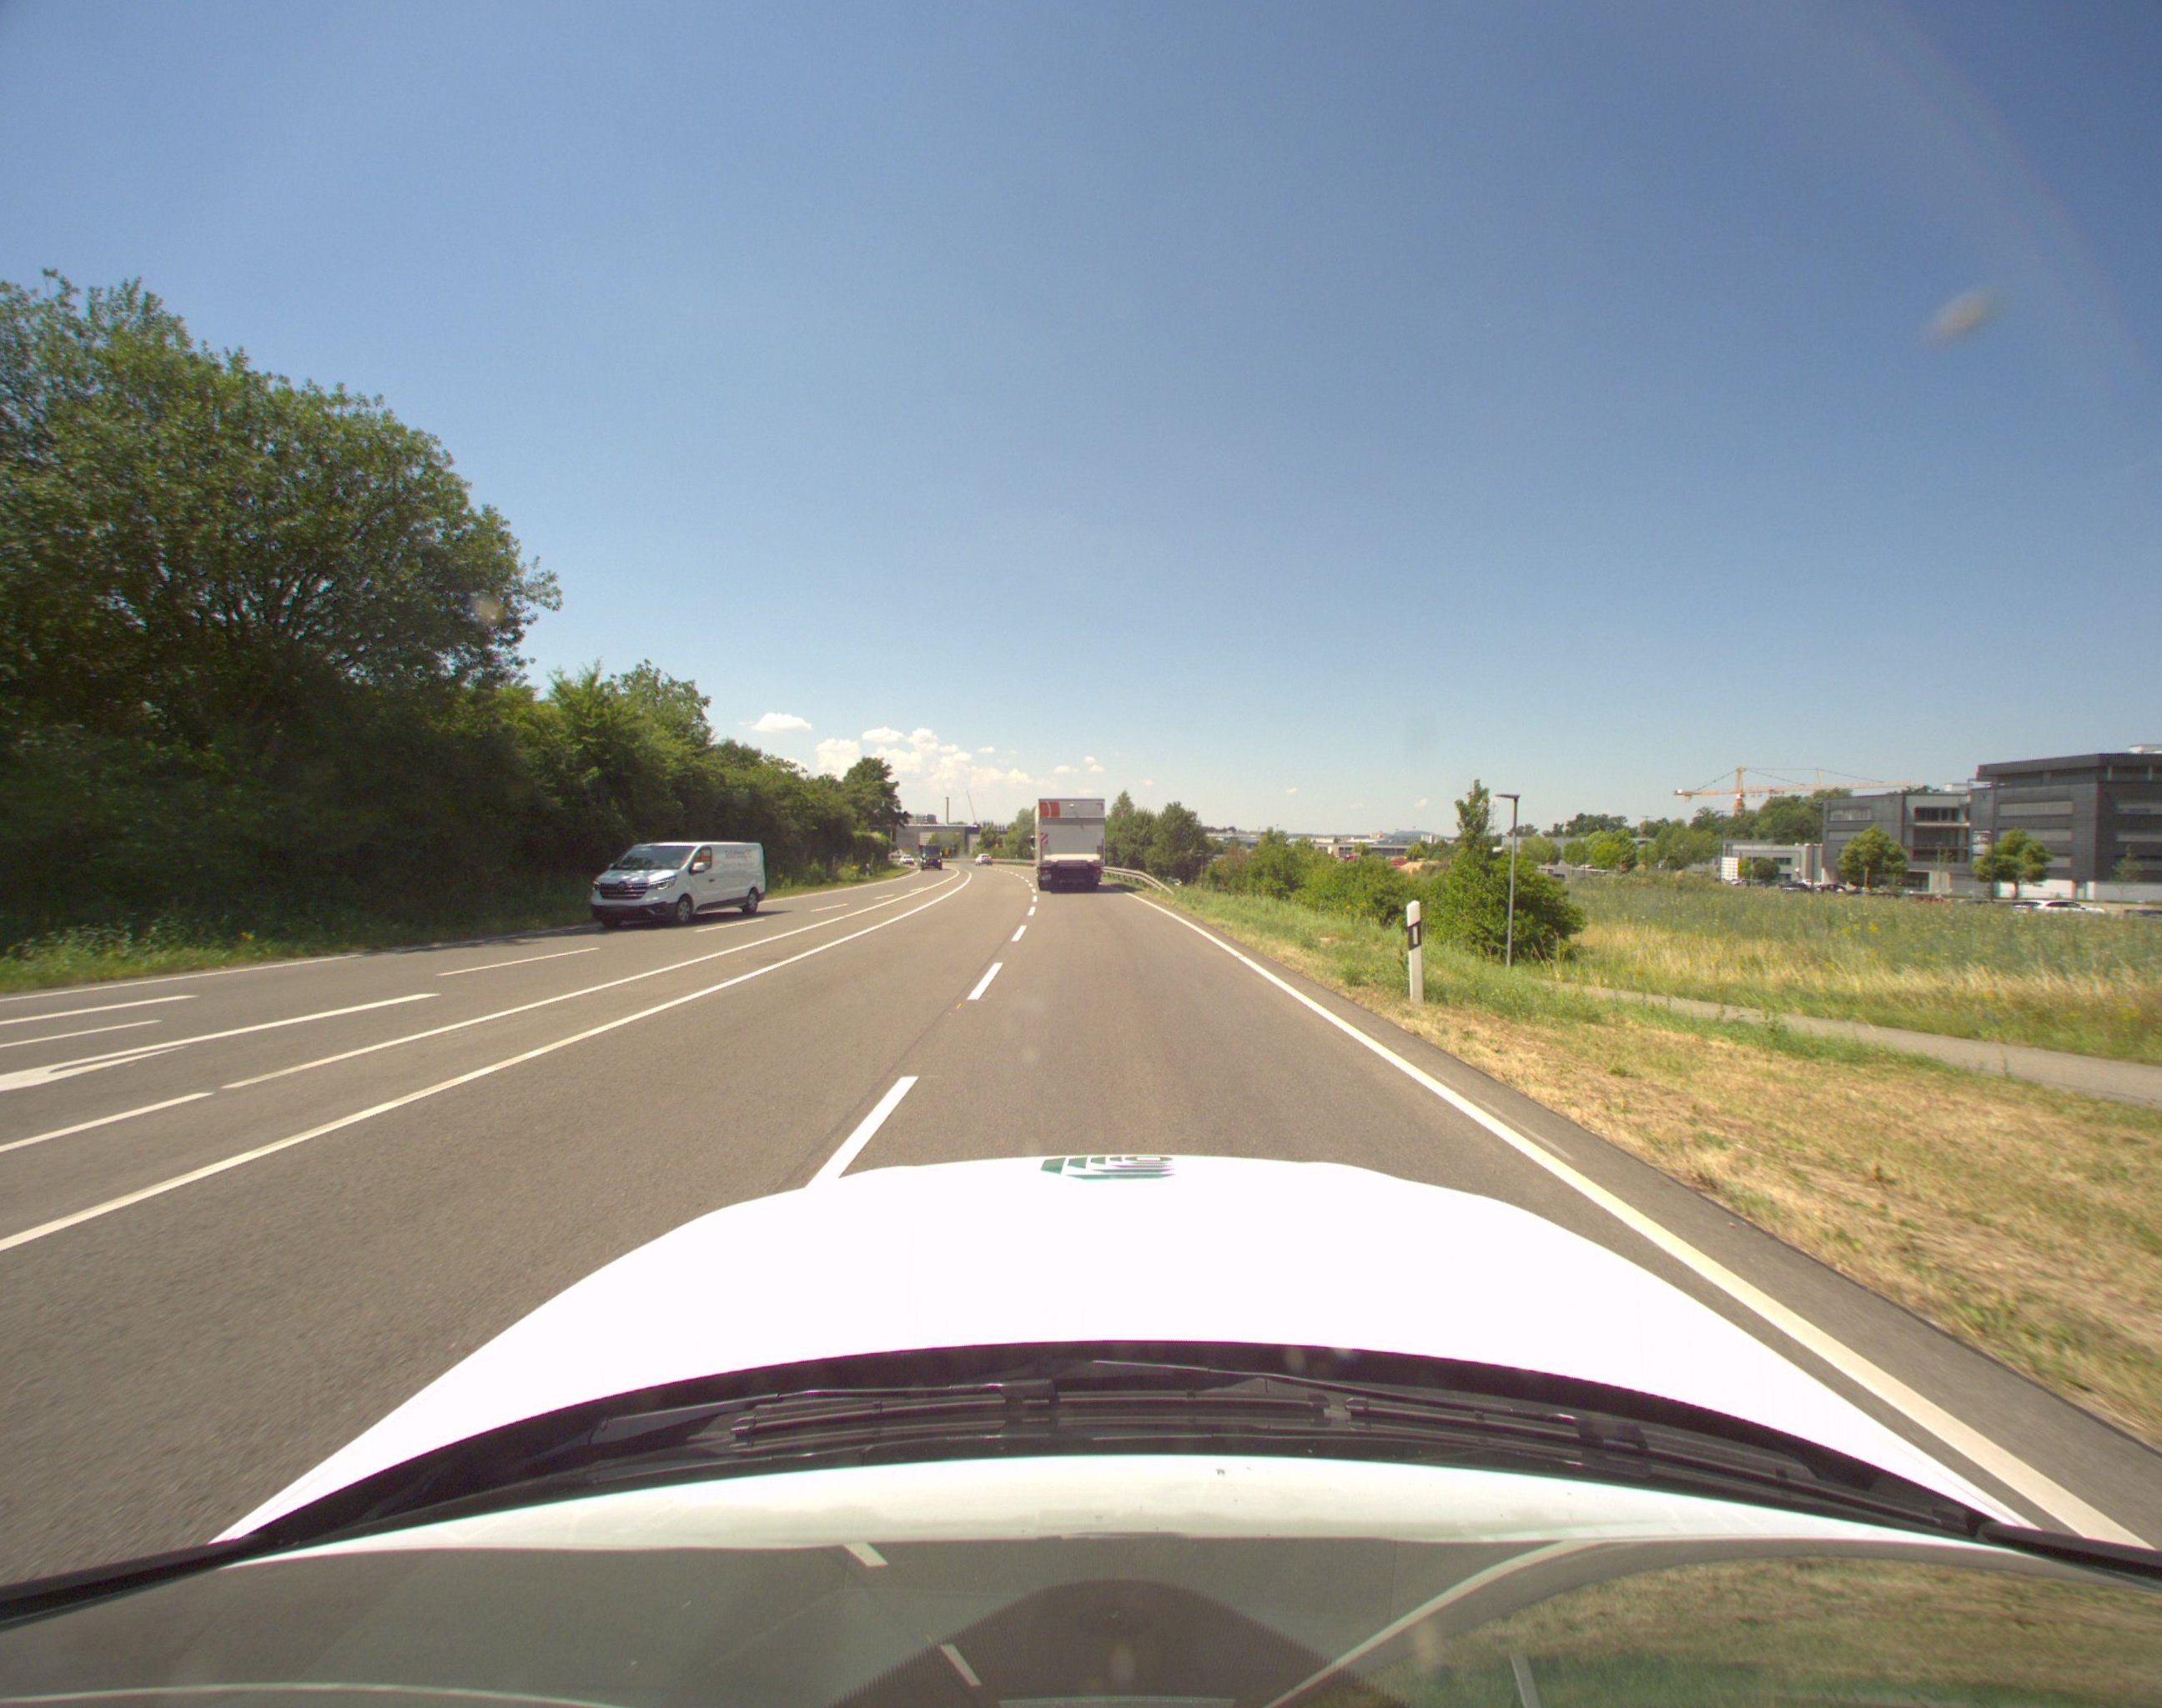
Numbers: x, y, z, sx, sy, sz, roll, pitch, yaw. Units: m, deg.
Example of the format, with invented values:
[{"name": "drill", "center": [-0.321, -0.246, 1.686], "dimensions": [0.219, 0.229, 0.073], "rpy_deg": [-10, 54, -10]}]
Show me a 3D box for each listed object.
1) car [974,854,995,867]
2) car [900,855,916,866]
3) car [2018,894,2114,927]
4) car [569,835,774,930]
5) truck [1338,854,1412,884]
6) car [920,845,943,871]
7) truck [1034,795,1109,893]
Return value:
[{"name": "car", "center": [-12.696, 0.850, 107.064], "dimensions": [1.948, 1.664, 3.976], "rpy_deg": [2, -1, -17]}, {"name": "car", "center": [-26.988, 0.946, 126.968], "dimensions": [1.998, 1.629, 4.173], "rpy_deg": [-1, 0, -17]}, {"name": "car", "center": [69.771, 3.977, 57.753], "dimensions": [3.962, 1.914, 2.006], "rpy_deg": [2, 1, 11]}, {"name": "car", "center": [-9.858, 0.604, 20.337], "dimensions": [2.069, 2.013, 5.808], "rpy_deg": [0, 0, 1]}, {"name": "truck", "center": [41.762, 2.112, 115.789], "dimensions": [9.300, 3.684, 3.151], "rpy_deg": [3, 2, 30]}, {"name": "car", "center": [-15.046, 0.409, 81.650], "dimensions": [2.189, 2.541, 6.013], "rpy_deg": [1, 0, -11]}, {"name": "truck", "center": [-0.608, -0.413, 35.303], "dimensions": [2.798, 3.710, 9.096], "rpy_deg": [0, 0, -4]}]
